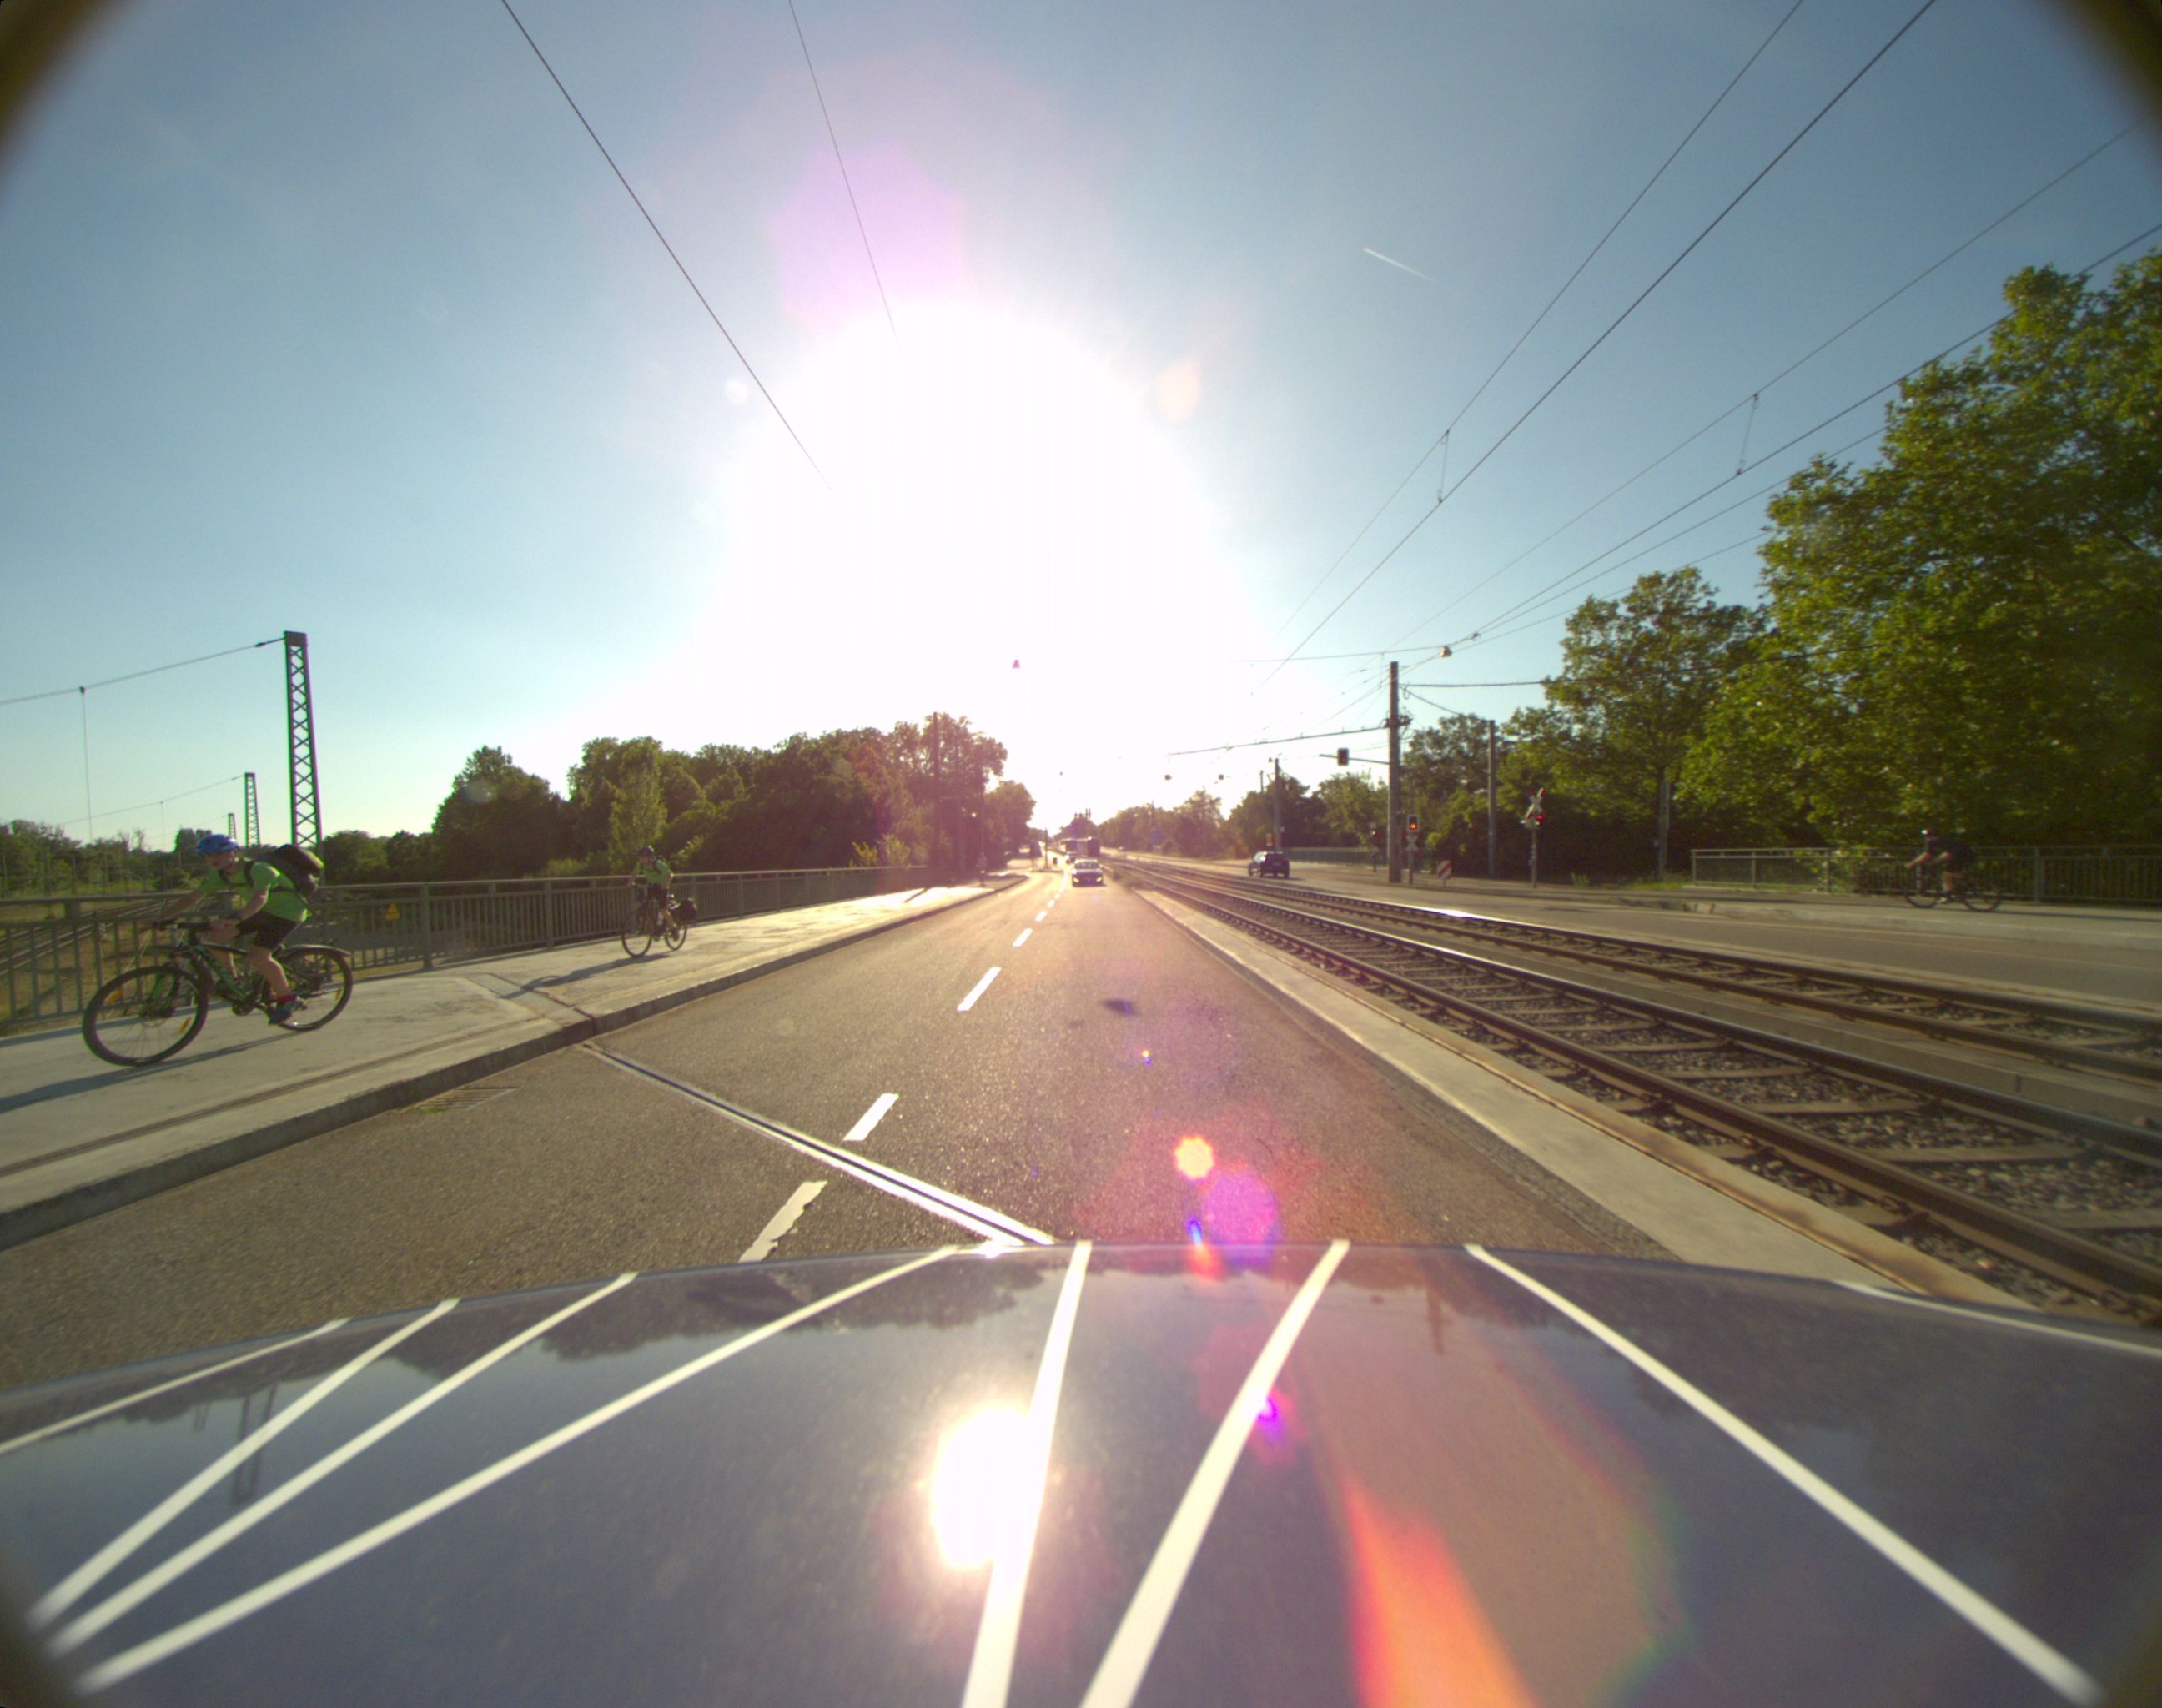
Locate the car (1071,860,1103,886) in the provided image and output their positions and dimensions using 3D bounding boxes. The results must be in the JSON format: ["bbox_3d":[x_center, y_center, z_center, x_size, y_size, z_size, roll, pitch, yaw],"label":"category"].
[{"bbox_3d":[0.348,1.079,44.639,1.801,1.345,3.999,-1,0,0],"label":"car"}]

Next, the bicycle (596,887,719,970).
[{"bbox_3d":[-6.679,1.131,12.150,0.685,1.116,2.216,-2,0,0],"label":"bicycle"}]

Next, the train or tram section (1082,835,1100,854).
[{"bbox_3d":[2.141,-2.091,163.714,2.985,3.878,11.659,-1,1,-3],"label":"train or tram section"}]

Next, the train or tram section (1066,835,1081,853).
[{"bbox_3d":[-1.728,-2.290,173.149,2.570,3.878,11.666,-2,1,-4],"label":"train or tram section"}]

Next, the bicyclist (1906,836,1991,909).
[{"bbox_3d":[17.679,0.366,15.507,0.626,1.424,0.968,-2,1,1],"label":"bicyclist"}]

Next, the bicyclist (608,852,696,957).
[{"bbox_3d":[-6.683,0.762,11.884,0.814,1.553,0.896,-2,0,0],"label":"bicyclist"}]

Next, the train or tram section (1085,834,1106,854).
[{"bbox_3d":[2.810,-1.972,151.553,2.986,3.878,12.695,-1,1,-3],"label":"train or tram section"}]

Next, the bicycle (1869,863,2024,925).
[{"bbox_3d":[17.696,0.778,15.638,0.626,1.116,2.259,-2,1,1],"label":"bicycle"}]

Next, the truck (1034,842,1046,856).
[{"bbox_3d":[-9.777,-1.183,180.519,2.611,3.186,7.866,-1,1,-3],"label":"truck"}]

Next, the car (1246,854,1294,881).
[{"bbox_3d":[11.423,0.768,46.165,1.853,1.493,4.218,-2,1,1],"label":"car"}]

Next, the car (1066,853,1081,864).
[{"bbox_3d":[-0.950,0.571,97.984,1.801,1.345,3.999,-1,0,0],"label":"car"}]

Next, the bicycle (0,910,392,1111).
[{"bbox_3d":[-6.685,1.095,5.966,0.626,1.116,2.041,-2,1,0],"label":"bicycle"}]

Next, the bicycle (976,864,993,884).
[{"bbox_3d":[-5.996,1.220,47.228,0.733,1.116,2.741,-4,1,-3],"label":"bicycle"}]

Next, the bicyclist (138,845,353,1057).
[{"bbox_3d":[-6.731,0.730,6.184,0.626,1.583,0.930,-2,1,0],"label":"bicyclist"}]

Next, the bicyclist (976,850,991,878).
[{"bbox_3d":[-6.052,0.623,47.242,0.733,1.680,1.202,-4,1,-3],"label":"bicyclist"}]
